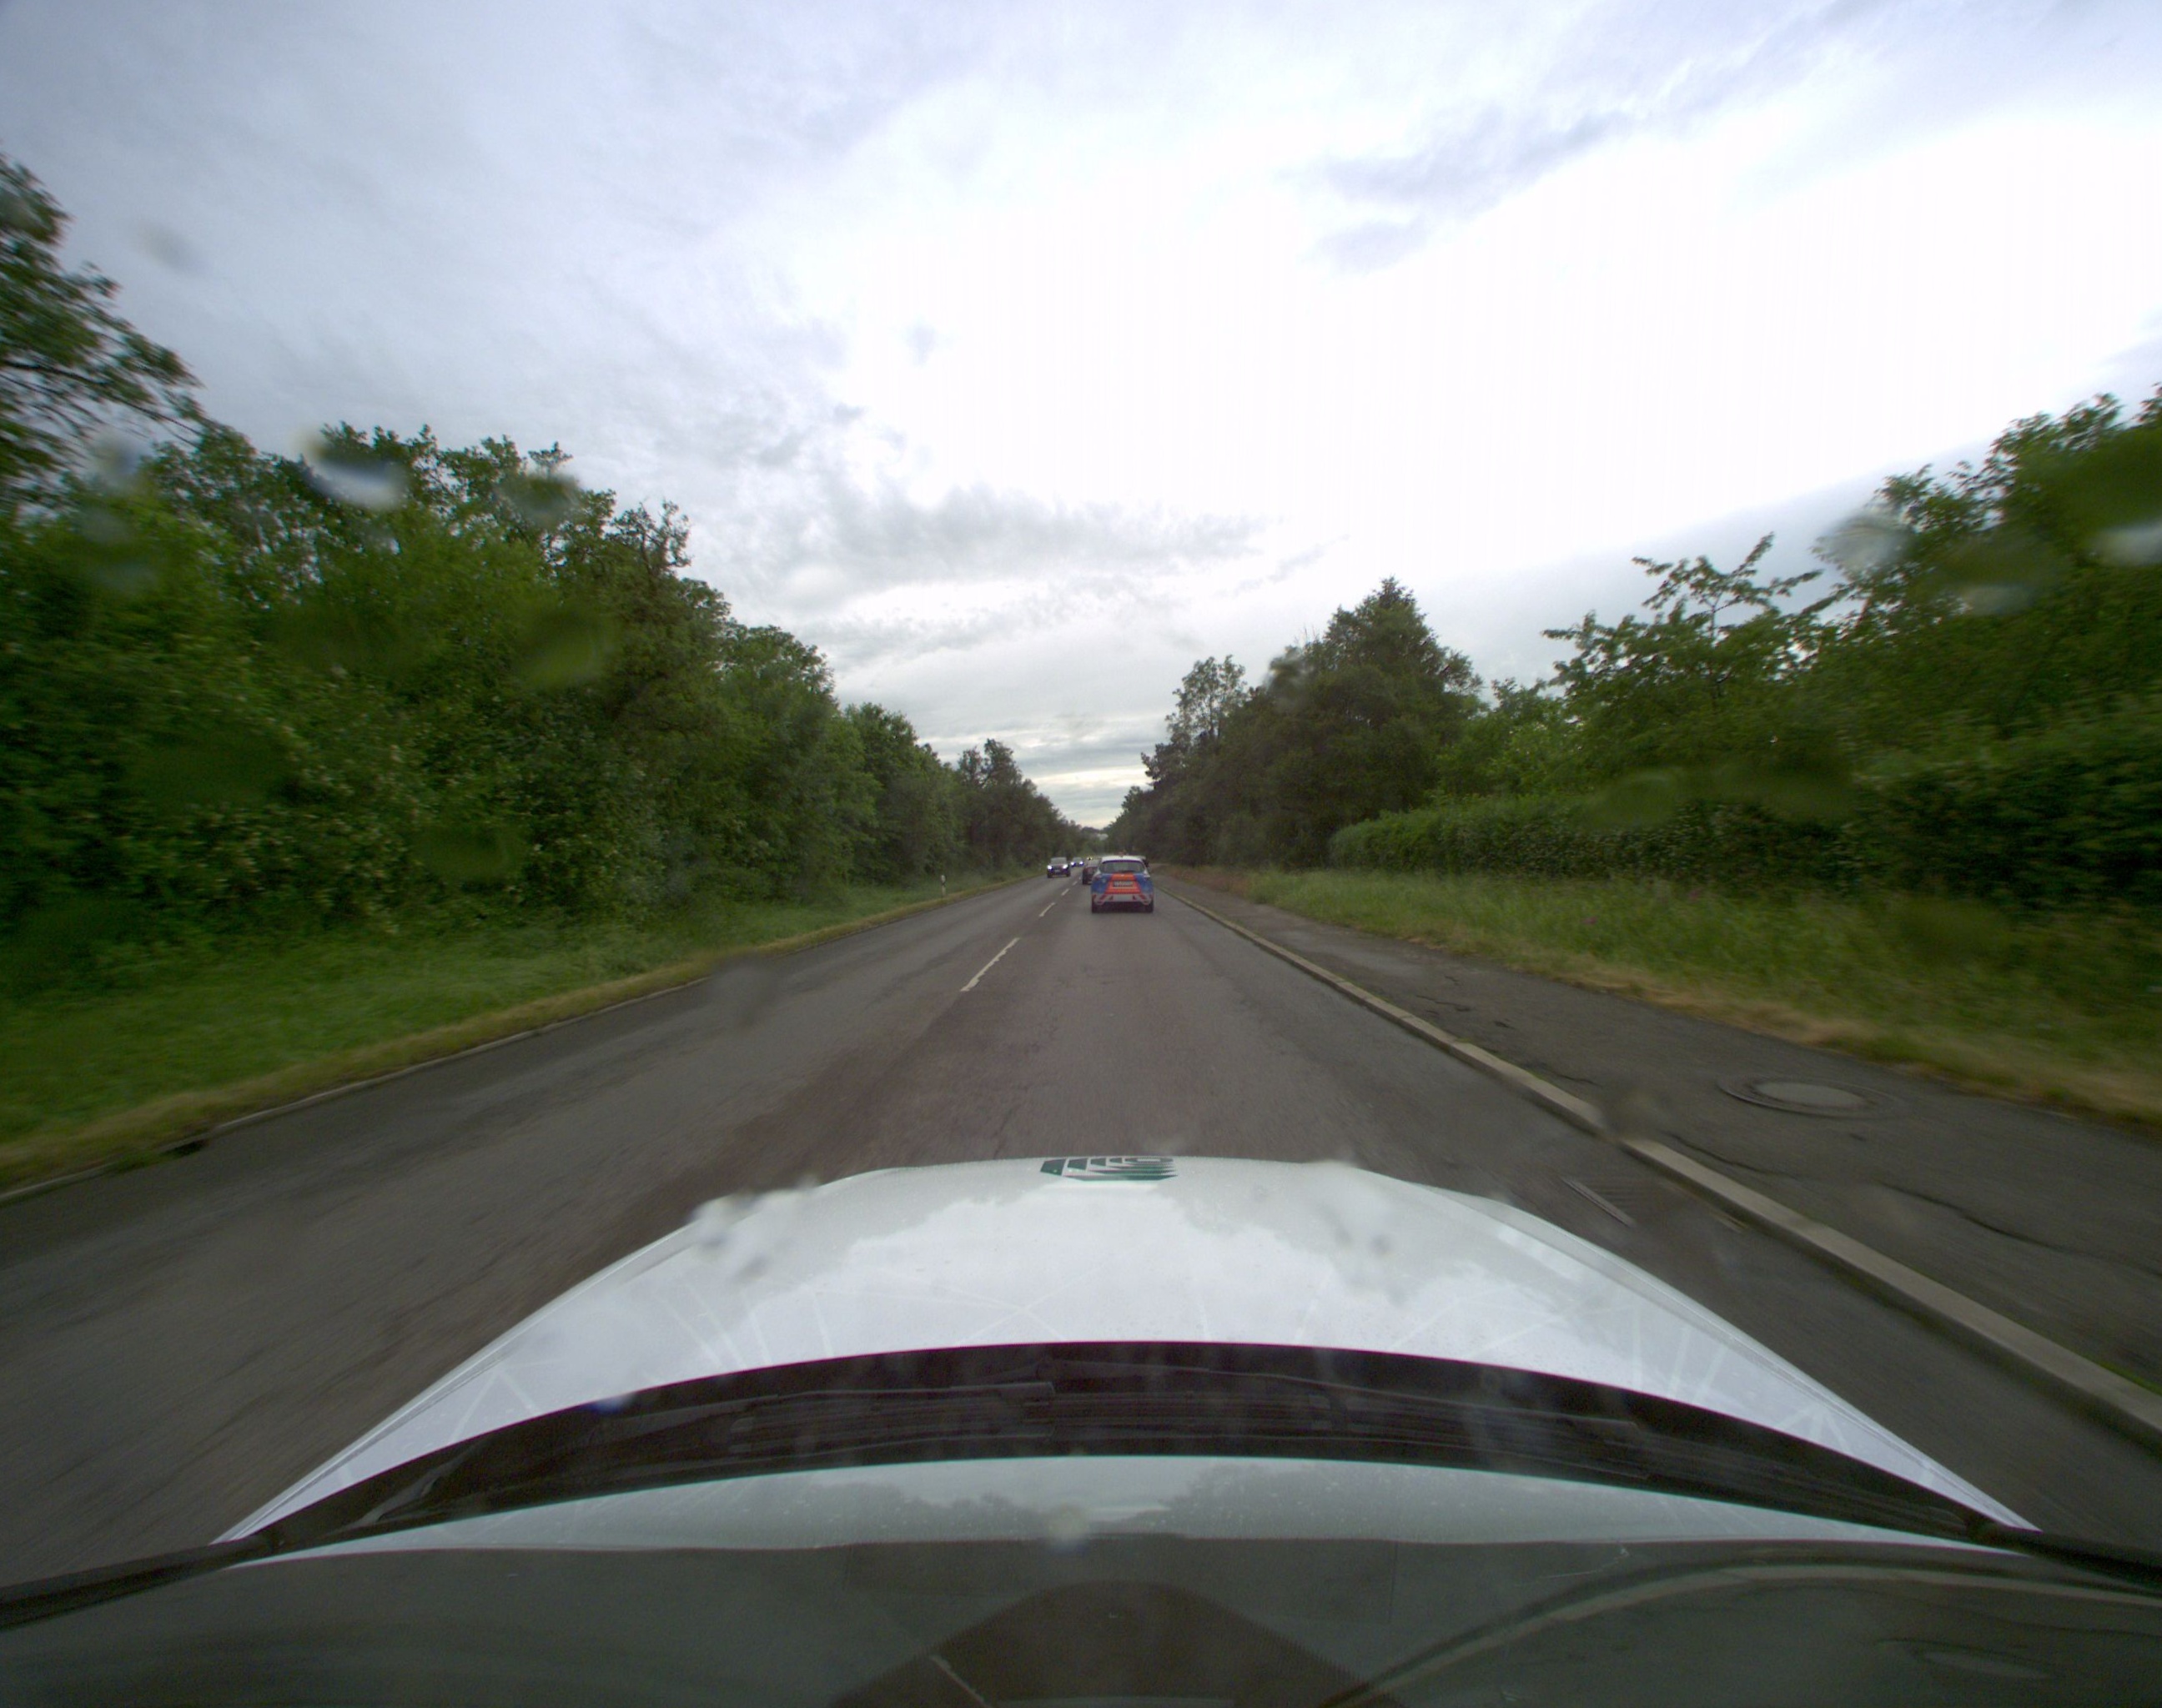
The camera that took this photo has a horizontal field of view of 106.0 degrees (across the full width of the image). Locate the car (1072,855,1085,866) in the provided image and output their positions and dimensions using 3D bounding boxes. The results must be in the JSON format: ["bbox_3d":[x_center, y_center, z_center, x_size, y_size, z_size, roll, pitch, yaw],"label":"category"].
[{"bbox_3d":[-0.382,0.956,120.439,1.704,1.399,4.150,-4,0,1],"label":"car"}]

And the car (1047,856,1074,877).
[{"bbox_3d":[-1.689,1.012,68.357,1.898,1.556,4.518,-3,0,2],"label":"car"}]

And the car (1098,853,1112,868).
[{"bbox_3d":[3.289,0.861,111.441,1.738,1.882,4.000,-2,0,0],"label":"car"}]

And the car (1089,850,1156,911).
[{"bbox_3d":[1.133,0.700,23.466,1.746,1.555,3.793,-1,1,1],"label":"car"}]

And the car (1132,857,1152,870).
[{"bbox_3d":[6.960,1.053,93.068,1.986,1.376,4.002,-3,0,2],"label":"car"}]

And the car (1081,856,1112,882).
[{"bbox_3d":[0.893,0.825,45.666,1.592,1.287,3.478,-3,0,2],"label":"car"}]
